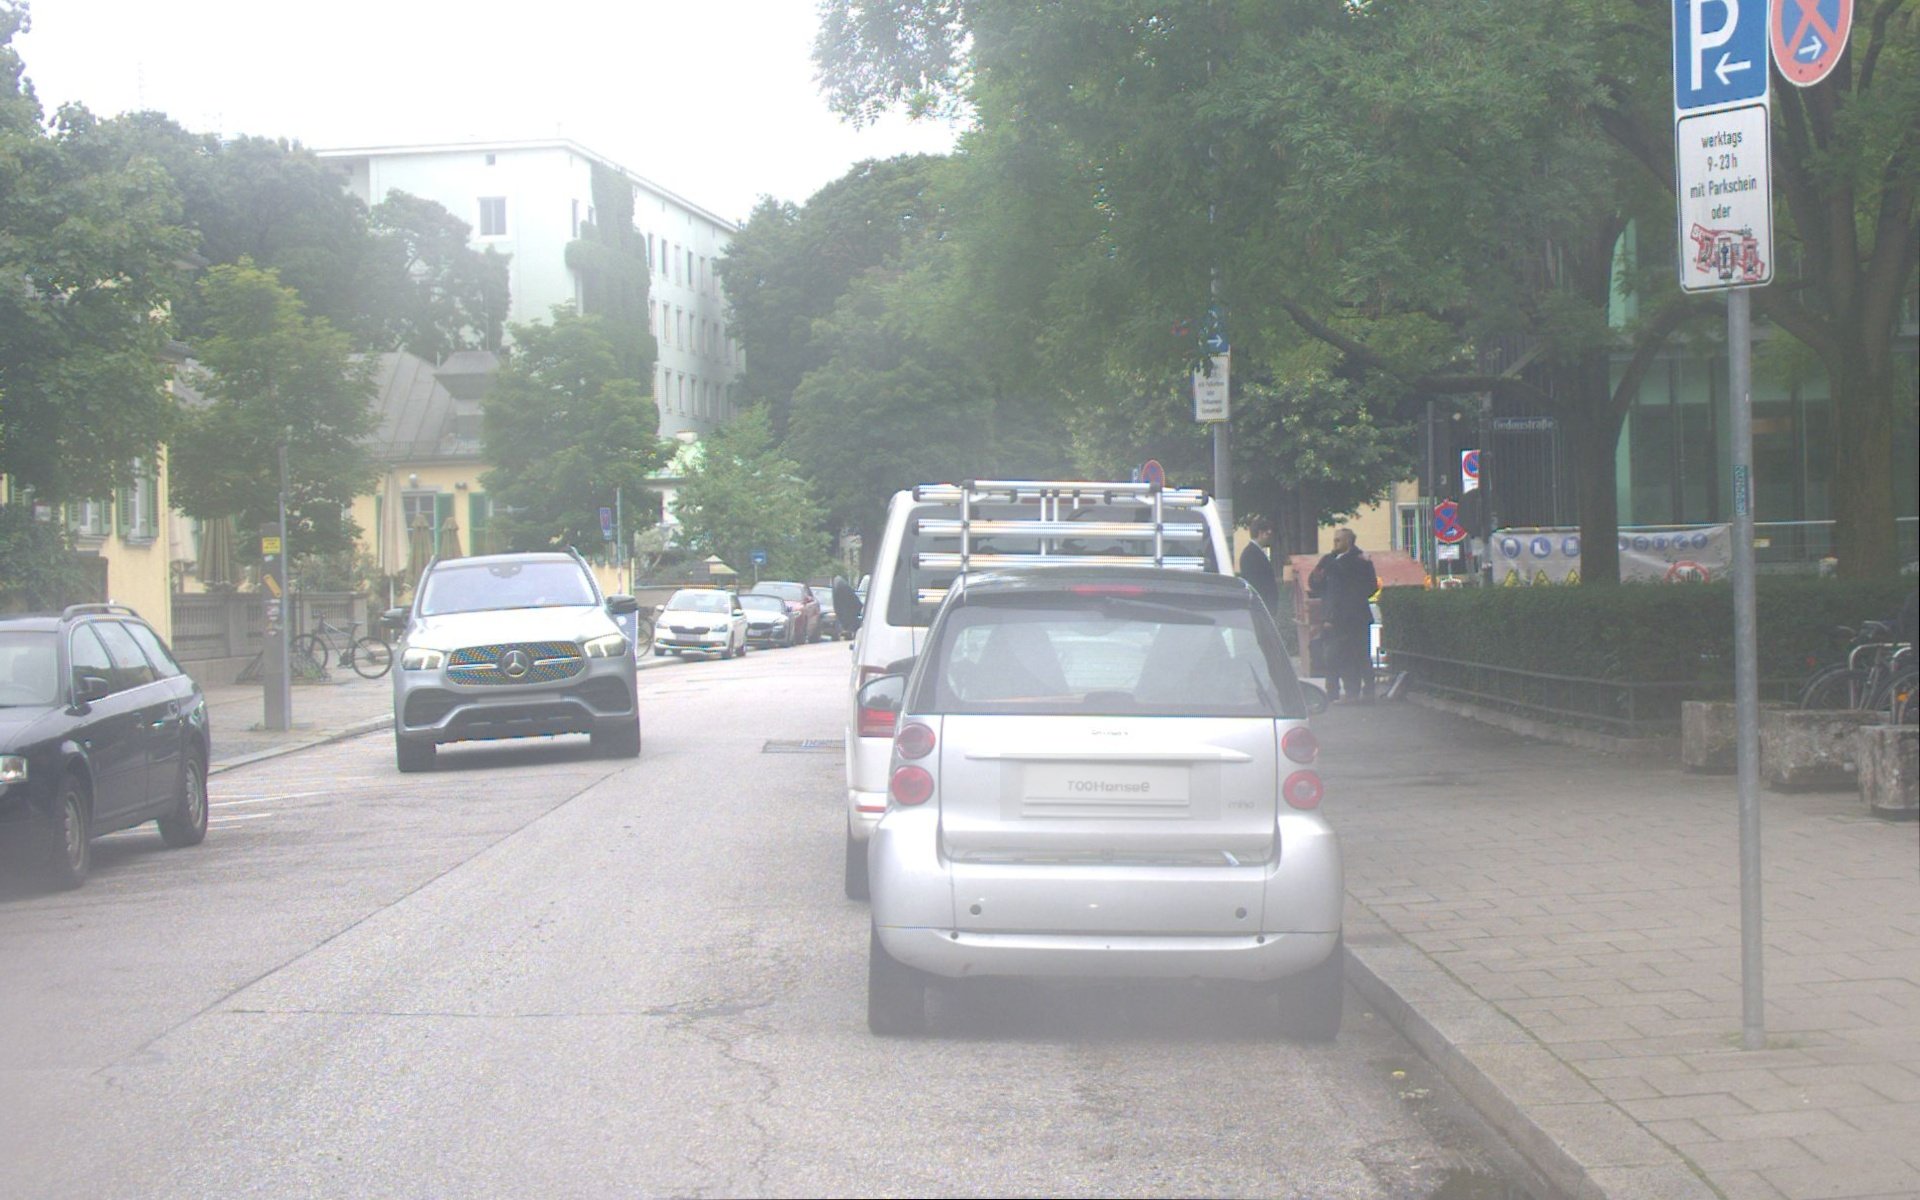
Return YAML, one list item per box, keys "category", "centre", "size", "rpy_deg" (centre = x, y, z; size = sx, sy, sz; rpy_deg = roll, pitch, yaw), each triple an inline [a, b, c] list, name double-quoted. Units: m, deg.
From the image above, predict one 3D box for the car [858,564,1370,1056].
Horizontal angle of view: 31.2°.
- category: "car"
  centre: [0.486, 0.656, 12.385]
  size: [1.605, 1.541, 2.934]
  rpy_deg: [1, 0, 0]

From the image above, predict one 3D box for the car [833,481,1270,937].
- category: "car"
  centre: [0.335, 0.452, 17.485]
  size: [1.845, 1.926, 5.273]
  rpy_deg: [1, 0, -1]

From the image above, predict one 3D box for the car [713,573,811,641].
- category: "car"
  centre: [-5.022, 0.150, 87.847]
  size: [1.994, 1.643, 4.655]
  rpy_deg: [-1, 0, 3]

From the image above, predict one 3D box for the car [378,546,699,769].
- category: "car"
  centre: [-3.485, 0.428, 29.304]
  size: [2.025, 1.683, 4.677]
  rpy_deg: [-2, 1, 1]

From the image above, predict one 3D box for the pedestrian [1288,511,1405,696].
- category: "pedestrian"
  centre: [4.073, 0.034, 36.210]
  size: [0.744, 1.901, 1.054]
  rpy_deg: [-2, 0, 35]

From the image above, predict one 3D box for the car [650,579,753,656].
- category: "car"
  centre: [-5.629, 0.363, 75.261]
  size: [1.734, 1.576, 3.787]
  rpy_deg: [2, 0, 3]

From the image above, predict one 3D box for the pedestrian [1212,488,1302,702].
- category: "pedestrian"
  centre: [3.033, -0.053, 35.139]
  size: [0.742, 2.127, 1.056]
  rpy_deg: [-2, 0, -1]

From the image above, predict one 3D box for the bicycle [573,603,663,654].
- category: "bicycle"
  centre: [-7.026, 0.578, 70.759]
  size: [0.623, 1.001, 2.136]
  rpy_deg: [2, 1, 33]

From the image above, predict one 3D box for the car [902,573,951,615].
- category: "car"
  centre: [-1.386, -0.251, 142.102]
  size: [1.810, 1.677, 4.000]
  rpy_deg: [-1, 1, 2]

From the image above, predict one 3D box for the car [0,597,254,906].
- category: "car"
  centre: [-5.526, 0.786, 19.322]
  size: [1.993, 1.486, 4.883]
  rpy_deg: [-3, 0, 1]

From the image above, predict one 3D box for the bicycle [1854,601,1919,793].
- category: "bicycle"
  centre: [6.374, 0.540, 20.483]
  size: [1.931, 1.110, 0.471]
  rpy_deg: [-2, 0, 2]

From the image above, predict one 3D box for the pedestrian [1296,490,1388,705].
- category: "pedestrian"
  centre: [3.882, -0.025, 34.996]
  size: [0.742, 2.127, 1.056]
  rpy_deg: [-2, 0, -1]

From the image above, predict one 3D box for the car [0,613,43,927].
- category: "car"
  centre: [-5.332, 0.831, 14.059]
  size: [1.922, 1.434, 4.918]
  rpy_deg: [-3, 0, -2]

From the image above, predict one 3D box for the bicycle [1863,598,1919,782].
- category: "bicycle"
  centre: [6.638, 0.519, 21.273]
  size: [1.931, 1.110, 0.471]
  rpy_deg: [-2, 0, 2]

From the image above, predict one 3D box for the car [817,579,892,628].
- category: "car"
  centre: [-3.384, 0.100, 110.771]
  size: [1.994, 1.481, 3.999]
  rpy_deg: [-1, 1, 4]

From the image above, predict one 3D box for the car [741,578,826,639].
- category: "car"
  centre: [-4.750, 0.248, 92.928]
  size: [1.993, 1.597, 4.000]
  rpy_deg: [-1, -1, 1]

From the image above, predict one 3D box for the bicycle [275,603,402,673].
- category: "bicycle"
  centre: [-10.102, 0.619, 55.887]
  size: [1.931, 1.095, 0.615]
  rpy_deg: [1, 0, 3]
